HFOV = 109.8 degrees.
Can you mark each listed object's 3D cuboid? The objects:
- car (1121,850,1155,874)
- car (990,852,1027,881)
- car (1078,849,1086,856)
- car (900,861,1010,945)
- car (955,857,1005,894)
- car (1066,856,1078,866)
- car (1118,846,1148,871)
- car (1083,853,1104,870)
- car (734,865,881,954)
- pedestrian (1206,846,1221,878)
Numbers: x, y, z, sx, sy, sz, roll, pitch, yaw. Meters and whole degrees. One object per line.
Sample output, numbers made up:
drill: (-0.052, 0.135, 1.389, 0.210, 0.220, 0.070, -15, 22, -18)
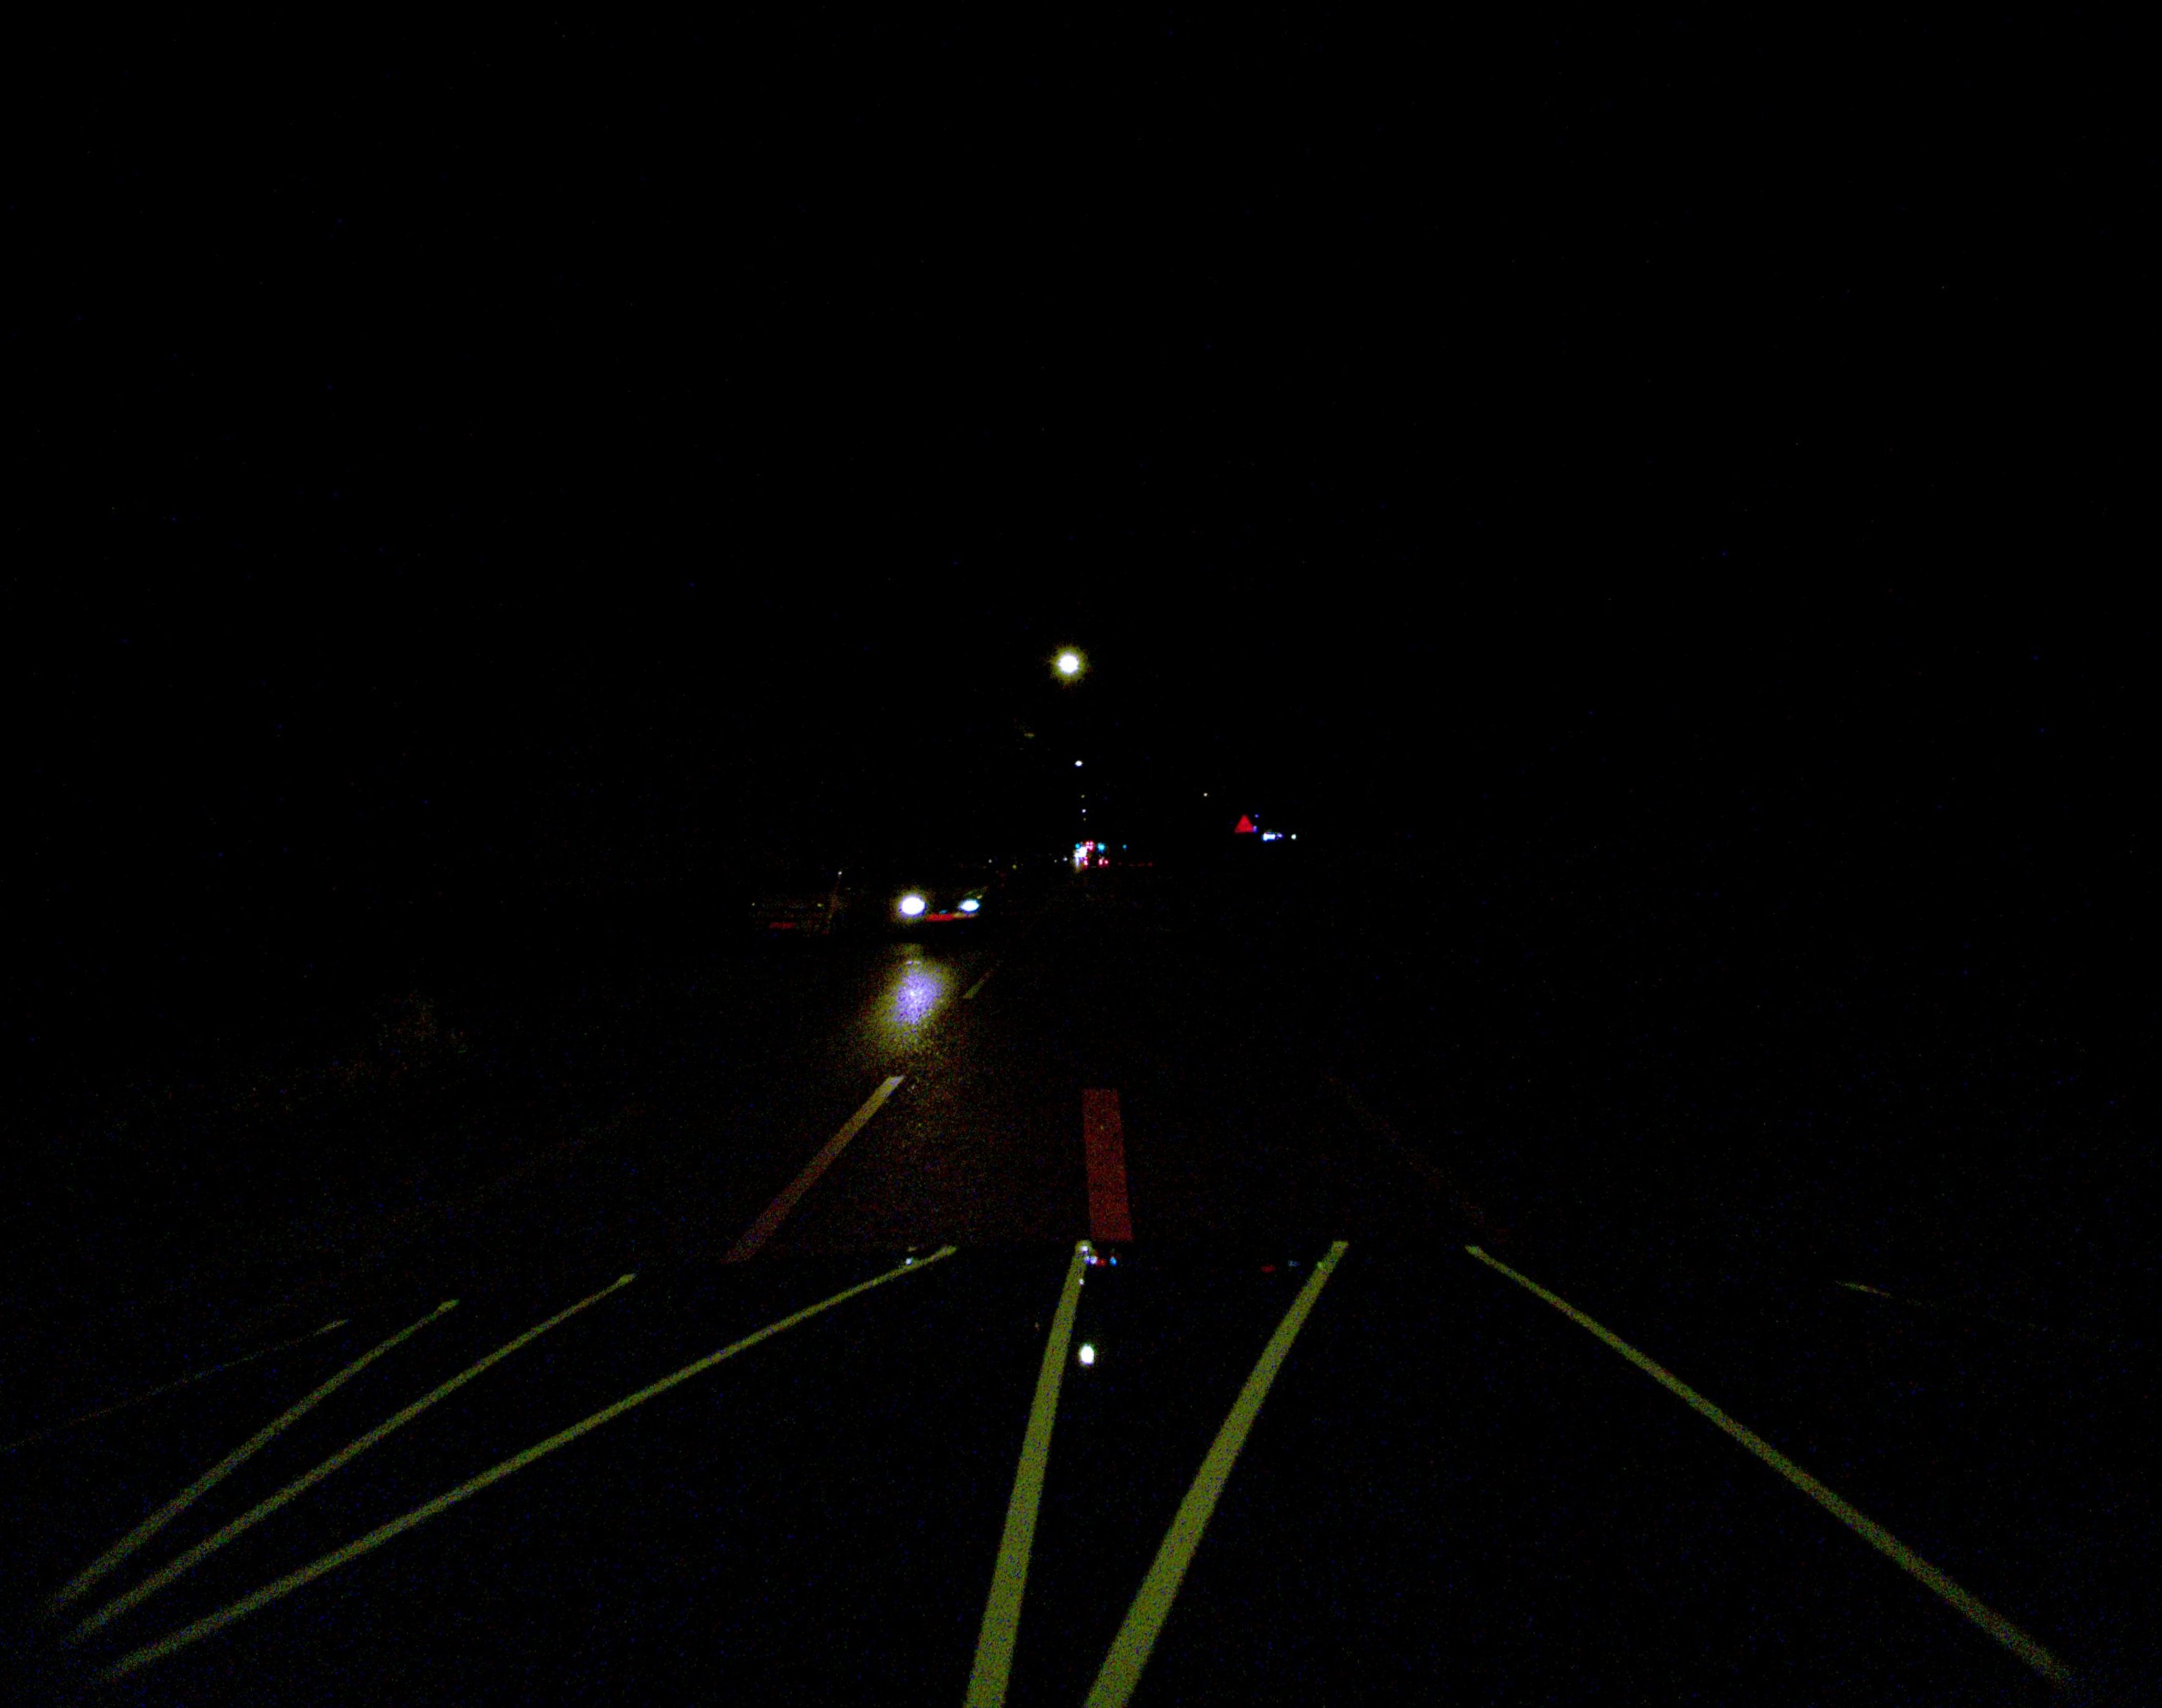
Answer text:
car: (3.889, 0.512, 52.082, 1.998, 1.477, 3.999, -3, 1, 1)
car: (-4.460, 0.750, 47.481, 1.852, 1.643, 4.179, -2, 0, 0)
car: (0.173, -0.311, 197.507, 1.998, 1.740, 3.999, -2, 1, 1)
car: (-2.627, 0.959, 16.704, 1.780, 1.477, 3.999, -2, 1, -1)
car: (-4.470, 0.904, 33.948, 1.742, 1.489, 3.890, -1, 0, -1)
car: (-1.525, 1.265, 134.880, 1.998, 1.718, 3.803, -2, 1, 1)
car: (3.890, 0.291, 57.125, 1.998, 1.772, 3.999, -2, 1, 1)
car: (1.110, 0.691, 68.730, 1.755, 1.433, 3.487, -2, -2, -2)
car: (-5.272, 1.008, 15.104, 1.611, 1.500, 3.486, 0, 0, 1)
pedestrian: (7.292, 0.426, 41.847, 0.673, 1.750, 0.500, -2, 1, 1)
